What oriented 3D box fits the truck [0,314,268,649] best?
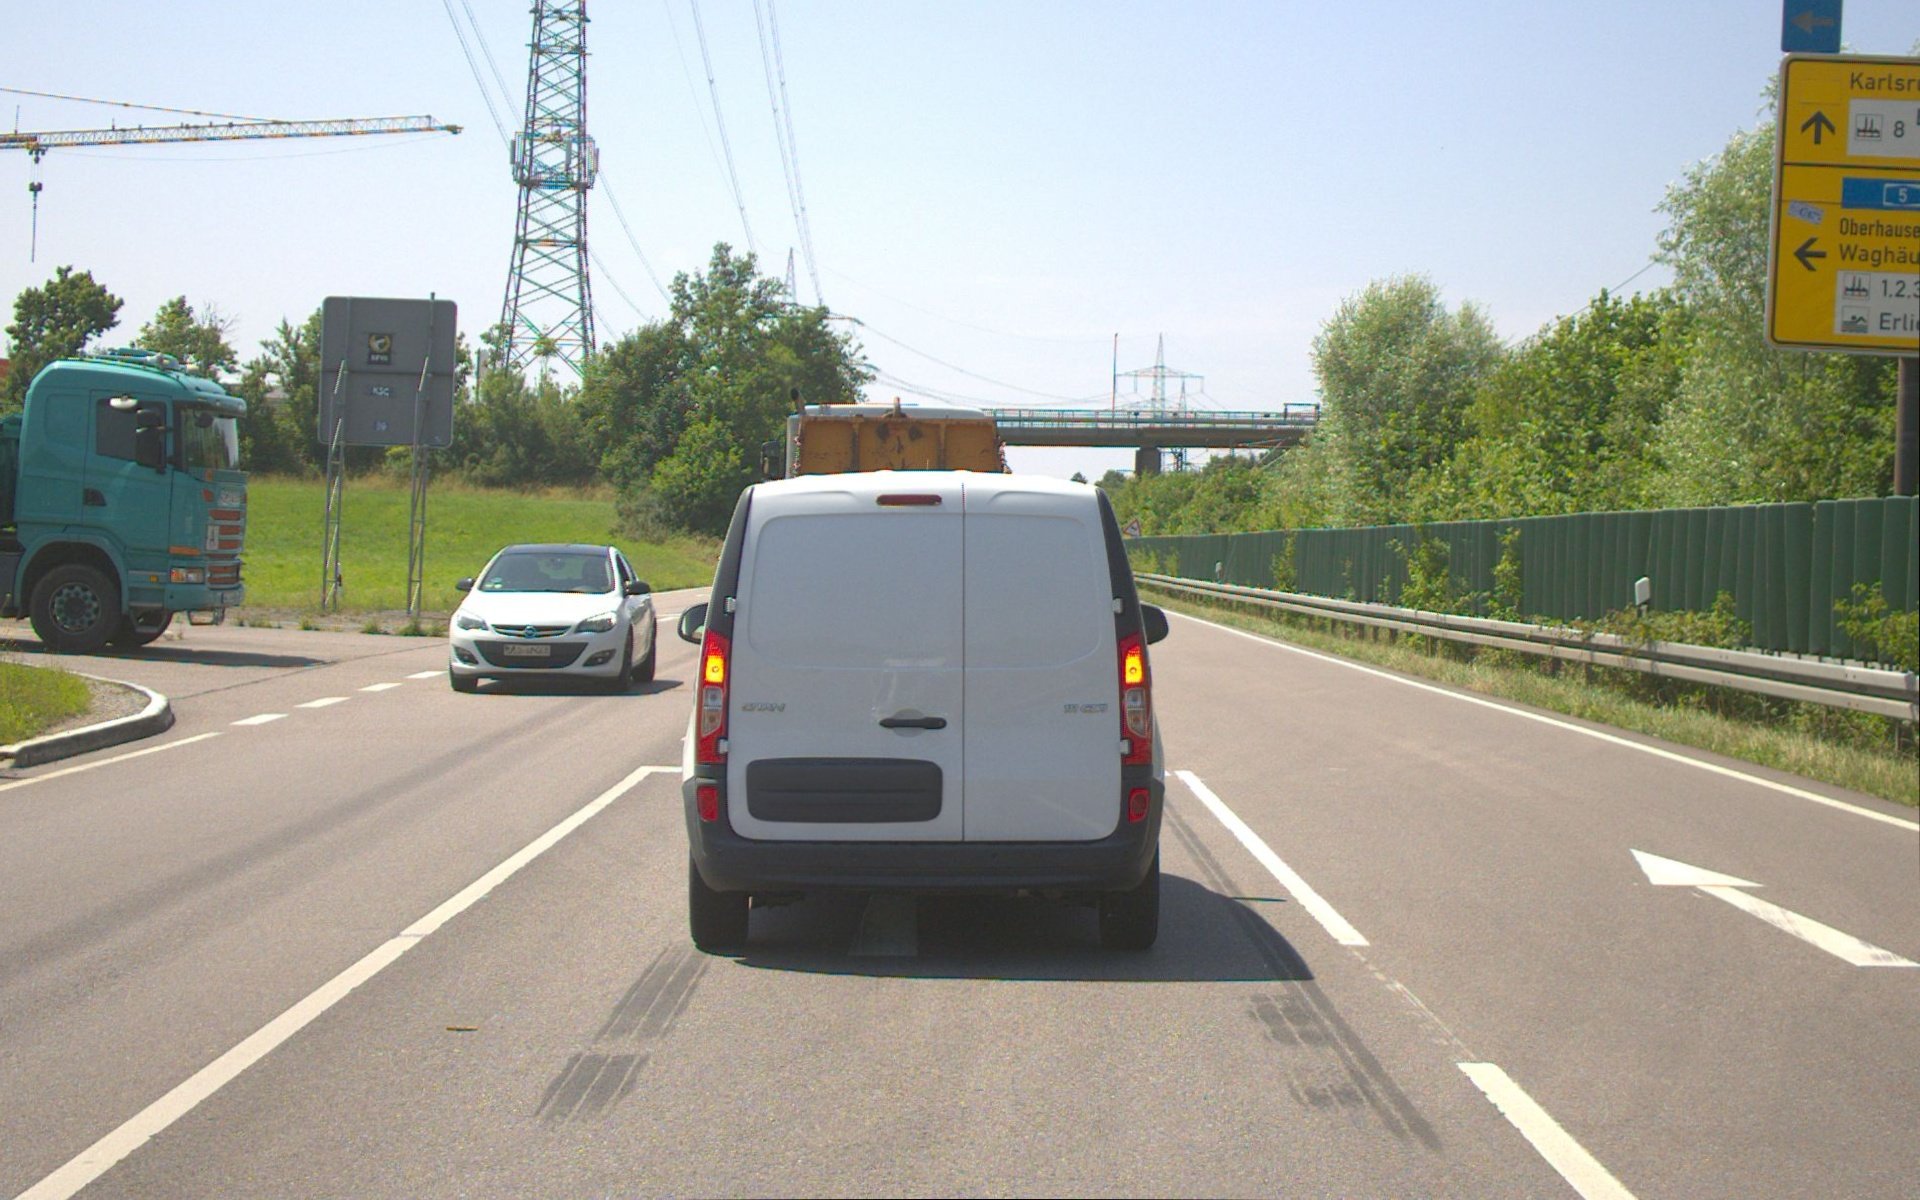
[{"bbox_3d":[-12.552,-1.545,40.945,7.905,3.721,2.498,3,1,3],"label":"truck"}]

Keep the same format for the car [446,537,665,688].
[{"bbox_3d":[-4.135,0.086,35.718,1.725,1.436,4.249,1,1,0],"label":"car"}]

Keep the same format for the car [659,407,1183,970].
[{"bbox_3d":[-0.141,0.276,14.109,1.827,1.964,4.000,1,1,0],"label":"car"}]

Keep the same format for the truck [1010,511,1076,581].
[{"bbox_3d":[3.296,-2.174,138.170,2.374,2.680,8.010,2,1,0],"label":"truck"}]

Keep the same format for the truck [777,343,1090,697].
[{"bbox_3d":[-0.502,-0.896,37.289,2.820,3.277,9.703,1,2,-3],"label":"truck"}]

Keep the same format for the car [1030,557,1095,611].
[{"bbox_3d":[3.060,-0.495,103.128,1.848,1.568,4.000,1,1,1],"label":"car"}]
